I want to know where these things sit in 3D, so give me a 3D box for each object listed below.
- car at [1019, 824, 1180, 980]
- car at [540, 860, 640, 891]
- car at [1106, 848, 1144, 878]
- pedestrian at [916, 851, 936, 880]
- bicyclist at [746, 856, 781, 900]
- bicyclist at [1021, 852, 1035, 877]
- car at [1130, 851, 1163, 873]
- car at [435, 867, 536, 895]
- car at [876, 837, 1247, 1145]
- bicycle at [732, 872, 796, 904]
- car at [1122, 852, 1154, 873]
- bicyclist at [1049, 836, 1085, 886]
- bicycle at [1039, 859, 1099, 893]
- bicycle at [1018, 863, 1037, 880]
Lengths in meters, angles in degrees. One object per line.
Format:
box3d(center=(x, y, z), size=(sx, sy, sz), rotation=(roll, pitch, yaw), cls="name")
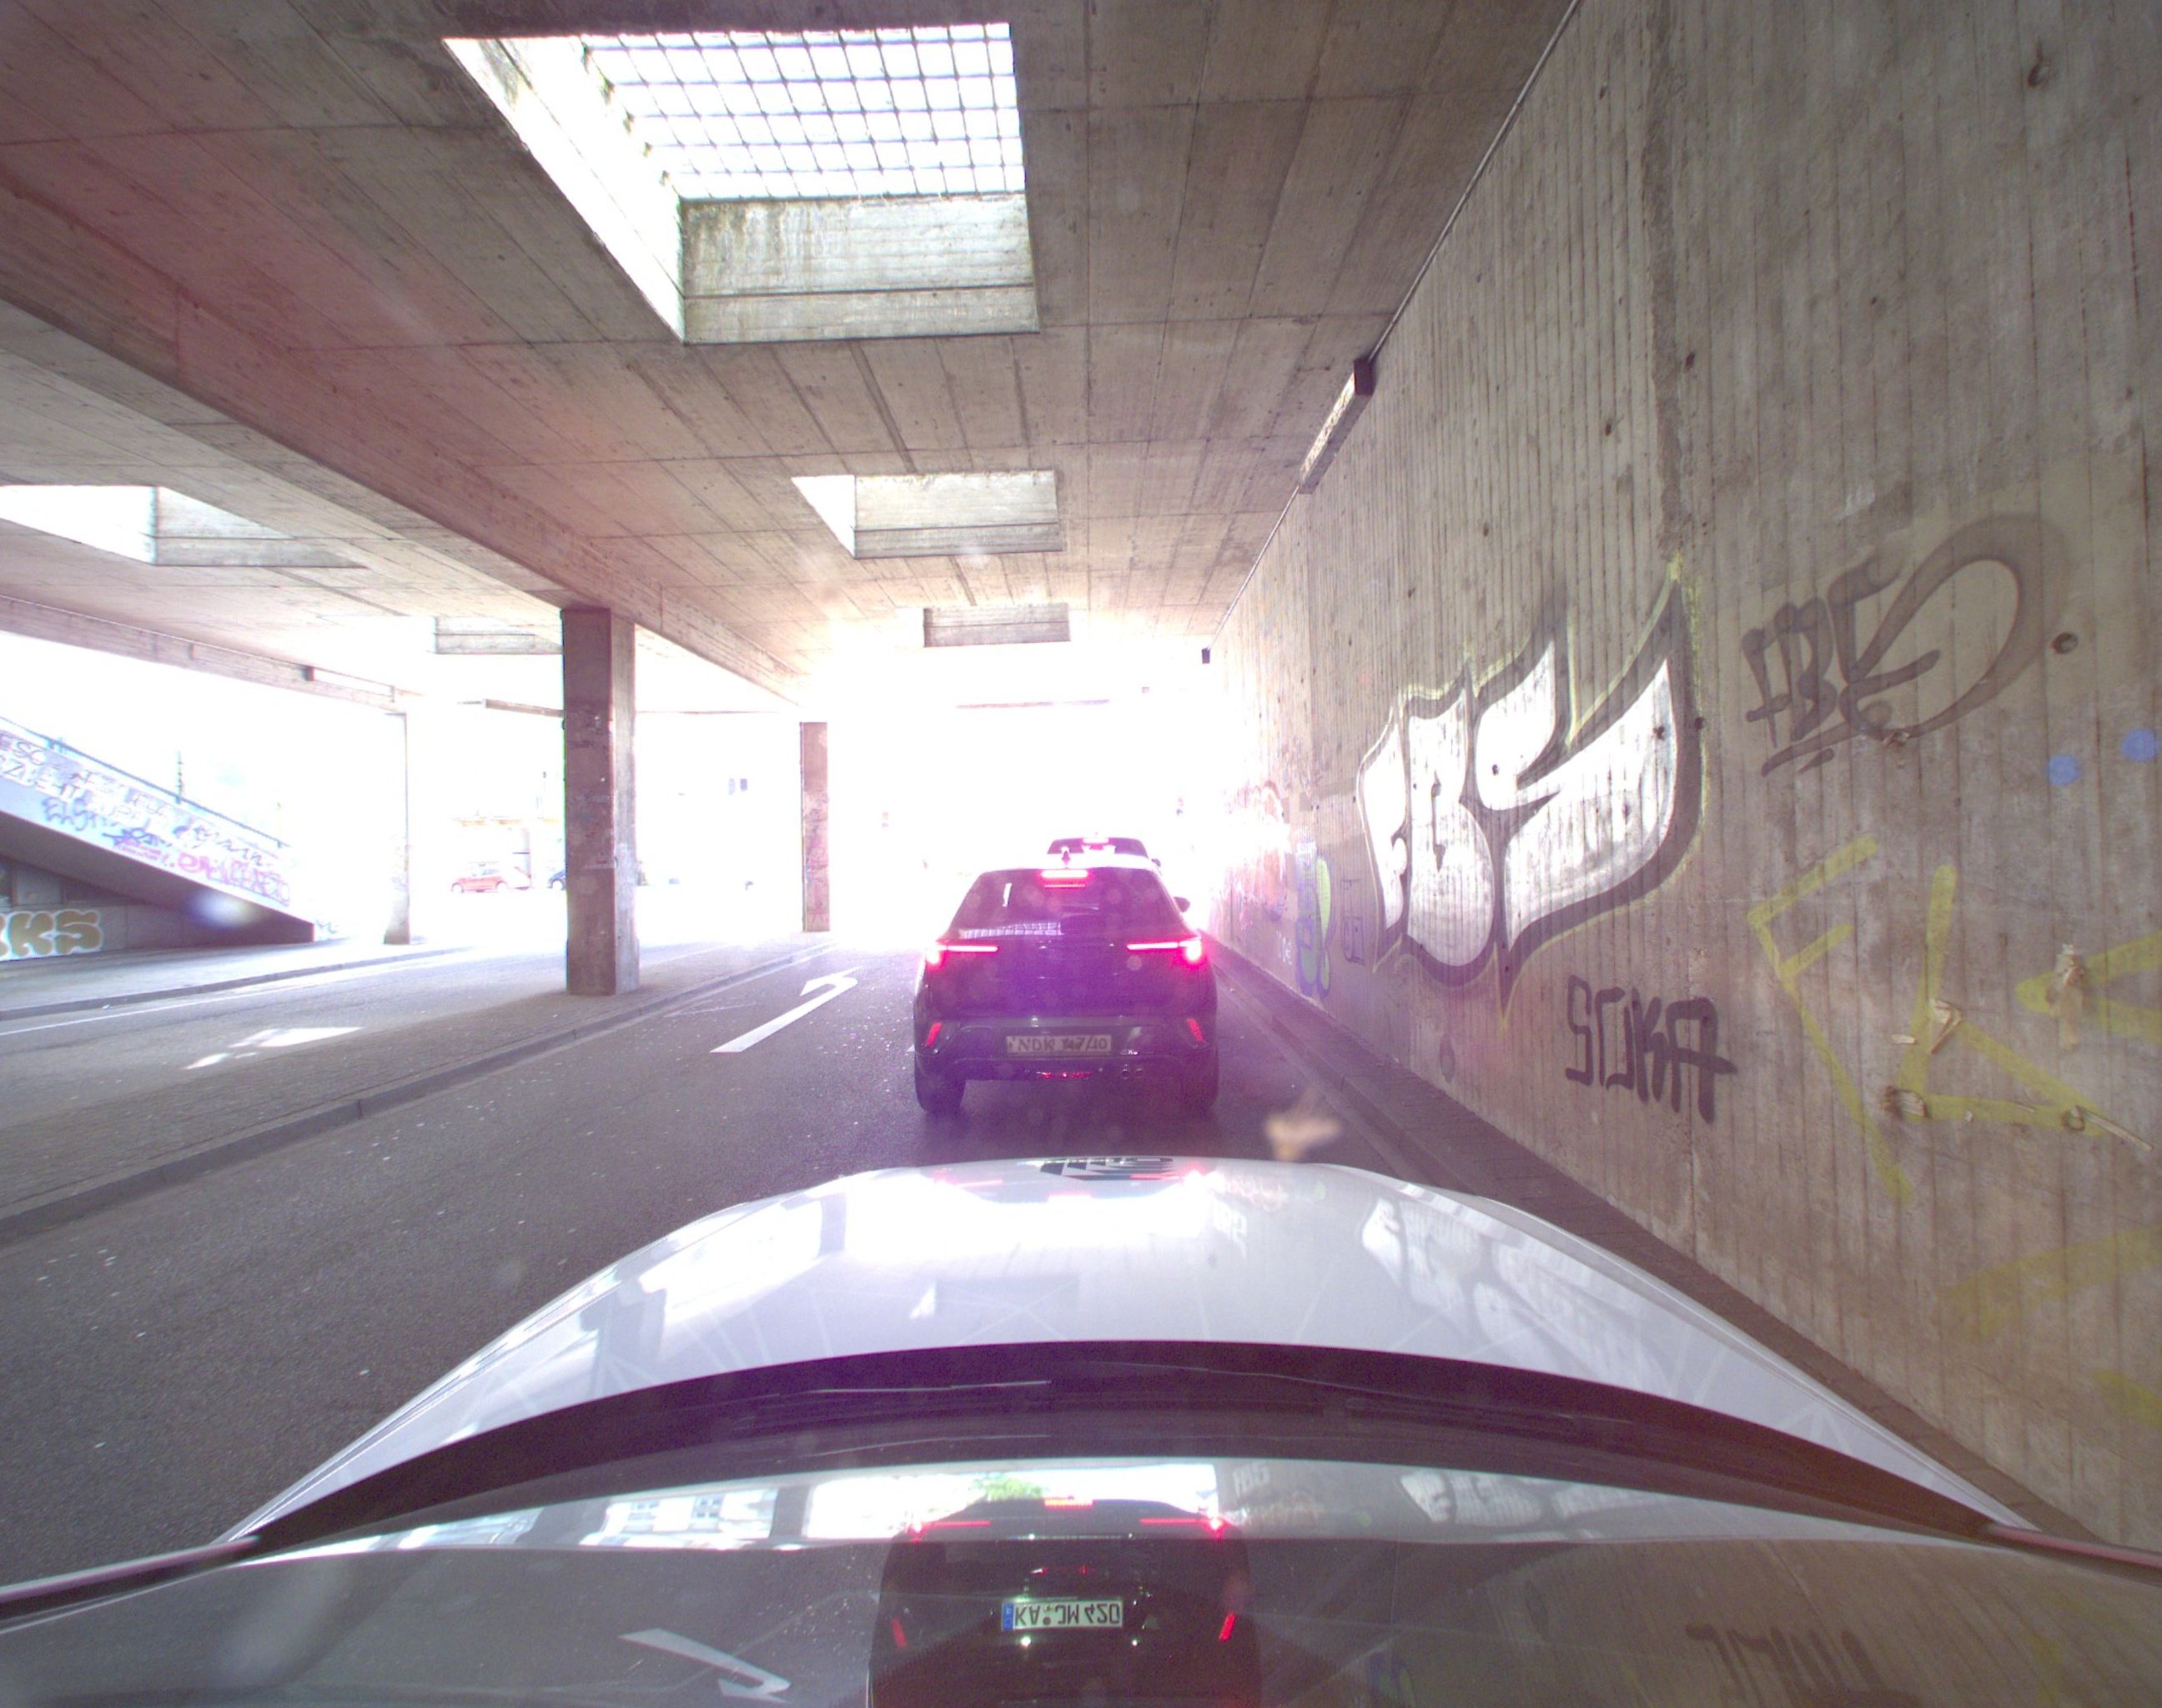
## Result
box3d(center=(0.289, 0.592, 12.012), size=(1.938, 1.860, 3.966), rotation=(-2, 0, 2), cls="car")
box3d(center=(-27.206, 1.178, 45.241), size=(4.114, 1.550, 2.268), rotation=(-2, 0, 1), cls="car")
box3d(center=(2.410, 0.501, 44.270), size=(1.959, 1.497, 3.900), rotation=(-2, -2, 4), cls="car")
box3d(center=(-11.023, 0.838, 57.926), size=(0.986, 2.013, 1.091), rotation=(-2, 0, 10), cls="pedestrian")
box3d(center=(-11.012, 0.821, 28.293), size=(0.867, 1.452, 0.745), rotation=(-2, 0, -1), cls="bicyclist")
box3d(center=(-3.377, 0.647, 51.782), size=(0.724, 1.581, 0.817), rotation=(-1, -1, 11), cls="bicyclist")
box3d(center=(5.588, 0.688, 69.041), size=(2.206, 1.719, 4.474), rotation=(-2, -2, 12), cls="car")
box3d(center=(-33.010, 1.467, 45.240), size=(3.970, 1.374, 2.192), rotation=(-2, 0, 3), cls="car")
box3d(center=(-0.043, 0.709, 6.191), size=(1.875, 1.538, 3.966), rotation=(-2, 0, 2), cls="car")
box3d(center=(-10.980, 1.167, 28.236), size=(1.849, 1.008, 0.745), rotation=(-3, 0, -1), cls="bicycle")
box3d(center=(4.407, 0.642, 62.255), size=(1.955, 1.497, 3.908), rotation=(-2, -2, 11), cls="car")
box3d(center=(-0.456, 0.231, 27.150), size=(1.086, 1.618, 0.631), rotation=(-1, -1, 9), cls="bicyclist")
box3d(center=(-0.401, 0.727, 27.133), size=(1.892, 1.114, 0.612), rotation=(0, -1, 8), cls="bicycle")
box3d(center=(-3.387, 1.104, 51.747), size=(0.727, 1.067, 1.694), rotation=(-1, -1, 11), cls="bicycle")
